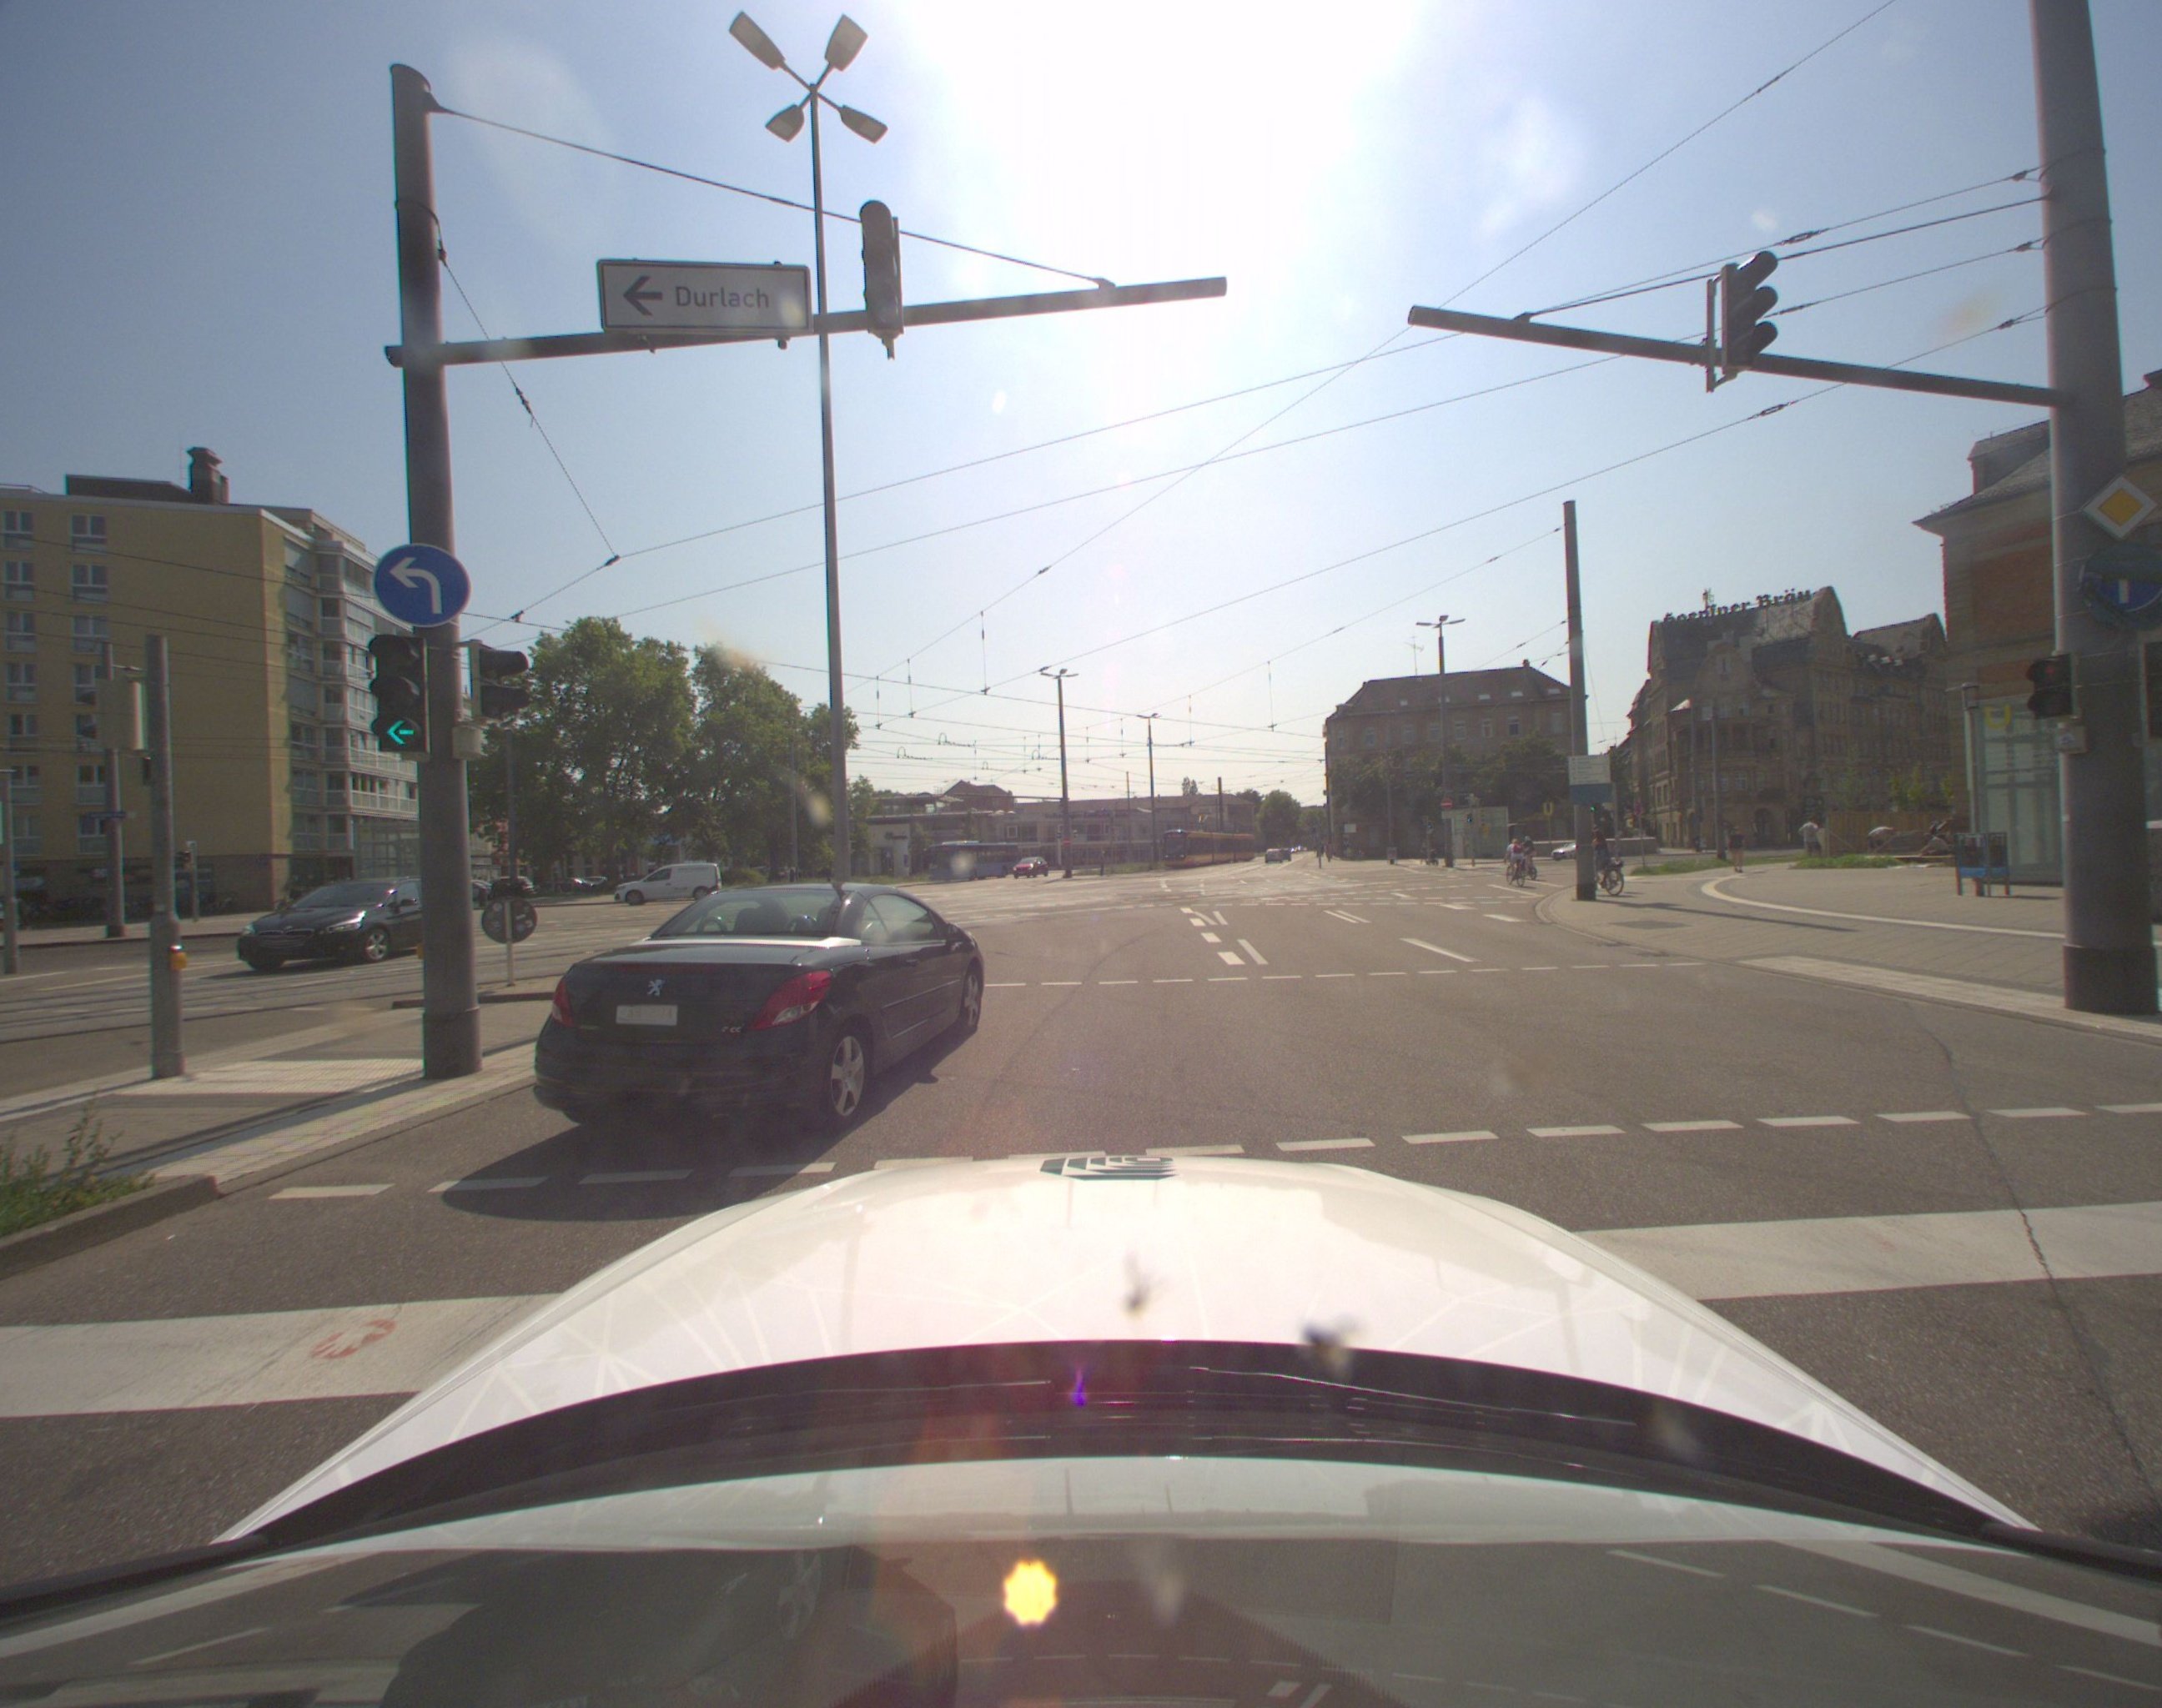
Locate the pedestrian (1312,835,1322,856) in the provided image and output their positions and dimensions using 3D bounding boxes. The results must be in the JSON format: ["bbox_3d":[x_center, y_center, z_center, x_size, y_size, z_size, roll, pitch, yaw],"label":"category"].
[{"bbox_3d":[33.305,-1.197,114.933,0.978,3.017,0.977,-2,0,7],"label":"pedestrian"}]

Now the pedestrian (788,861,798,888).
[{"bbox_3d":[-18.456,1.295,52.220,0.554,1.684,0.451,-2,0,-17],"label":"pedestrian"}]

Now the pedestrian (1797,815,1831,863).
[{"bbox_3d":[27.065,-0.559,30.059,0.549,1.724,0.812,-2,0,-39],"label":"pedestrian"}]

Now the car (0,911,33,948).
[{"bbox_3d":[-48.259,3.356,36.230,3.948,1.508,1.759,-2,0,35],"label":"car"}]

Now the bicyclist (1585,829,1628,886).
[{"bbox_3d":[14.340,0.095,22.251,0.730,1.517,0.665,-2,0,6],"label":"bicyclist"}]

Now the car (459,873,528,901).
[{"bbox_3d":[-46.616,2.574,64.699,3.994,2.013,1.921,-2,0,-15],"label":"car"}]

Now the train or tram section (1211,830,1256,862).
[{"bbox_3d":[18.124,-0.950,95.843,2.566,3.516,13.043,-2,0,22],"label":"train or tram section"}]

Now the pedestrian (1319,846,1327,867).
[{"bbox_3d":[35.883,0.399,120.686,0.978,3.017,0.976,-2,0,7],"label":"pedestrian"}]

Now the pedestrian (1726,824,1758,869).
[{"bbox_3d":[23.438,-0.271,28.883,0.794,1.575,0.729,-2,0,-44],"label":"pedestrian"}]

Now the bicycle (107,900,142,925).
[{"bbox_3d":[-50.677,3.089,43.145,3.220,1.204,0.916,-3,0,36],"label":"bicycle"}]

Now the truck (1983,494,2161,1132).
[{"bbox_3d":[6.372,-0.209,1.339,2.481,3.134,6.868,0,0,4],"label":"truck"}]

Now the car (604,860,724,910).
[{"bbox_3d":[-19.064,1.392,37.480,4.624,2.013,1.987,-2,0,-19],"label":"car"}]

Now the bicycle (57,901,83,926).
[{"bbox_3d":[-52.802,3.106,42.523,2.754,1.204,0.699,-3,0,36],"label":"bicycle"}]

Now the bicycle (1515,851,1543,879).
[{"bbox_3d":[17.550,0.418,31.919,0.532,1.055,1.660,-2,0,14],"label":"bicycle"}]

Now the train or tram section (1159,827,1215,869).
[{"bbox_3d":[10.036,-0.564,75.693,2.566,3.516,10.955,-2,0,21],"label":"train or tram section"}]

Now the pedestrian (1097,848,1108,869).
[{"bbox_3d":[1.514,0.291,57.762,0.678,1.443,0.364,-2,0,-15],"label":"pedestrian"}]

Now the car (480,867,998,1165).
[{"bbox_3d":[-1.947,0.829,5.968,1.755,1.388,3.790,-1,0,9],"label":"car"}]

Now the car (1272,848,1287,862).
[{"bbox_3d":[23.385,0.124,95.697,1.625,1.618,4.015,-2,0,14],"label":"car"}]

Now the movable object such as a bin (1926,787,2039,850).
[{"bbox_3d":[36.558,-1.354,33.007,5.575,2.311,1.943,0,-1,-30],"label":"movable object such as a bin"}]

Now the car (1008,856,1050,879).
[{"bbox_3d":[-3.950,1.031,62.596,1.735,1.552,4.020,-2,0,20],"label":"car"}]

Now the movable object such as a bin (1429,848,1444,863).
[{"bbox_3d":[25.662,0.098,58.786,0.805,1.077,0.515,-3,-1,42],"label":"movable object such as a bin"}]

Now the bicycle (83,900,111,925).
[{"bbox_3d":[-51.800,3.060,42.848,3.220,1.204,0.699,-3,0,36],"label":"bicycle"}]

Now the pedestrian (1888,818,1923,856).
[{"bbox_3d":[31.568,-0.639,31.192,0.768,1.399,0.687,-2,0,-24],"label":"pedestrian"}]

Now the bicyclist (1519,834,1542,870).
[{"bbox_3d":[17.433,-0.079,31.574,0.526,1.393,0.897,-2,0,14],"label":"bicyclist"}]

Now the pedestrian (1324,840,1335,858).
[{"bbox_3d":[22.727,-0.439,74.472,0.699,1.603,0.572,-2,0,-6],"label":"pedestrian"}]

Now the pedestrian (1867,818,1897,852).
[{"bbox_3d":[29.970,-0.712,30.492,0.658,1.214,0.531,-2,0,30],"label":"pedestrian"}]

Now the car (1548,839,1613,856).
[{"bbox_3d":[36.106,-0.478,58.900,4.001,1.090,1.986,-2,0,-20],"label":"car"}]

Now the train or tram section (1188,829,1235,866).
[{"bbox_3d":[13.805,-0.717,85.334,2.565,3.516,9.711,-2,0,22],"label":"train or tram section"}]

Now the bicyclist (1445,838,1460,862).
[{"bbox_3d":[24.150,-0.258,52.933,0.614,1.528,0.517,-2,0,-22],"label":"bicyclist"}]

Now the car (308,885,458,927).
[{"bbox_3d":[-31.017,2.284,36.371,4.624,1.505,1.987,-2,0,-19],"label":"car"}]

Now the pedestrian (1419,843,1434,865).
[{"bbox_3d":[25.252,-0.022,59.536,0.531,1.545,0.843,-2,-1,-39],"label":"pedestrian"}]

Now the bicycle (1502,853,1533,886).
[{"bbox_3d":[15.079,0.516,28.151,0.532,1.055,1.660,-2,0,14],"label":"bicycle"}]

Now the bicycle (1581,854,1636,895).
[{"bbox_3d":[14.356,0.528,22.212,0.489,1.055,1.826,-2,0,7],"label":"bicycle"}]

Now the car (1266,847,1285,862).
[{"bbox_3d":[20.564,0.024,86.056,1.757,1.415,4.206,-2,0,16],"label":"car"}]

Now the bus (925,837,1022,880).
[{"bbox_3d":[-8.369,0.311,65.892,2.541,3.082,12.081,-2,0,19],"label":"bus"}]

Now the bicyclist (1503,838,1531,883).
[{"bbox_3d":[15.064,0.224,28.146,0.623,1.517,0.715,-2,0,14],"label":"bicyclist"}]

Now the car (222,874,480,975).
[{"bbox_3d":[-13.846,1.230,15.839,1.734,1.560,4.193,-2,0,-11],"label":"car"}]

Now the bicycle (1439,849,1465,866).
[{"bbox_3d":[24.120,0.239,52.963,0.470,1.055,1.643,-2,0,-18],"label":"bicycle"}]
